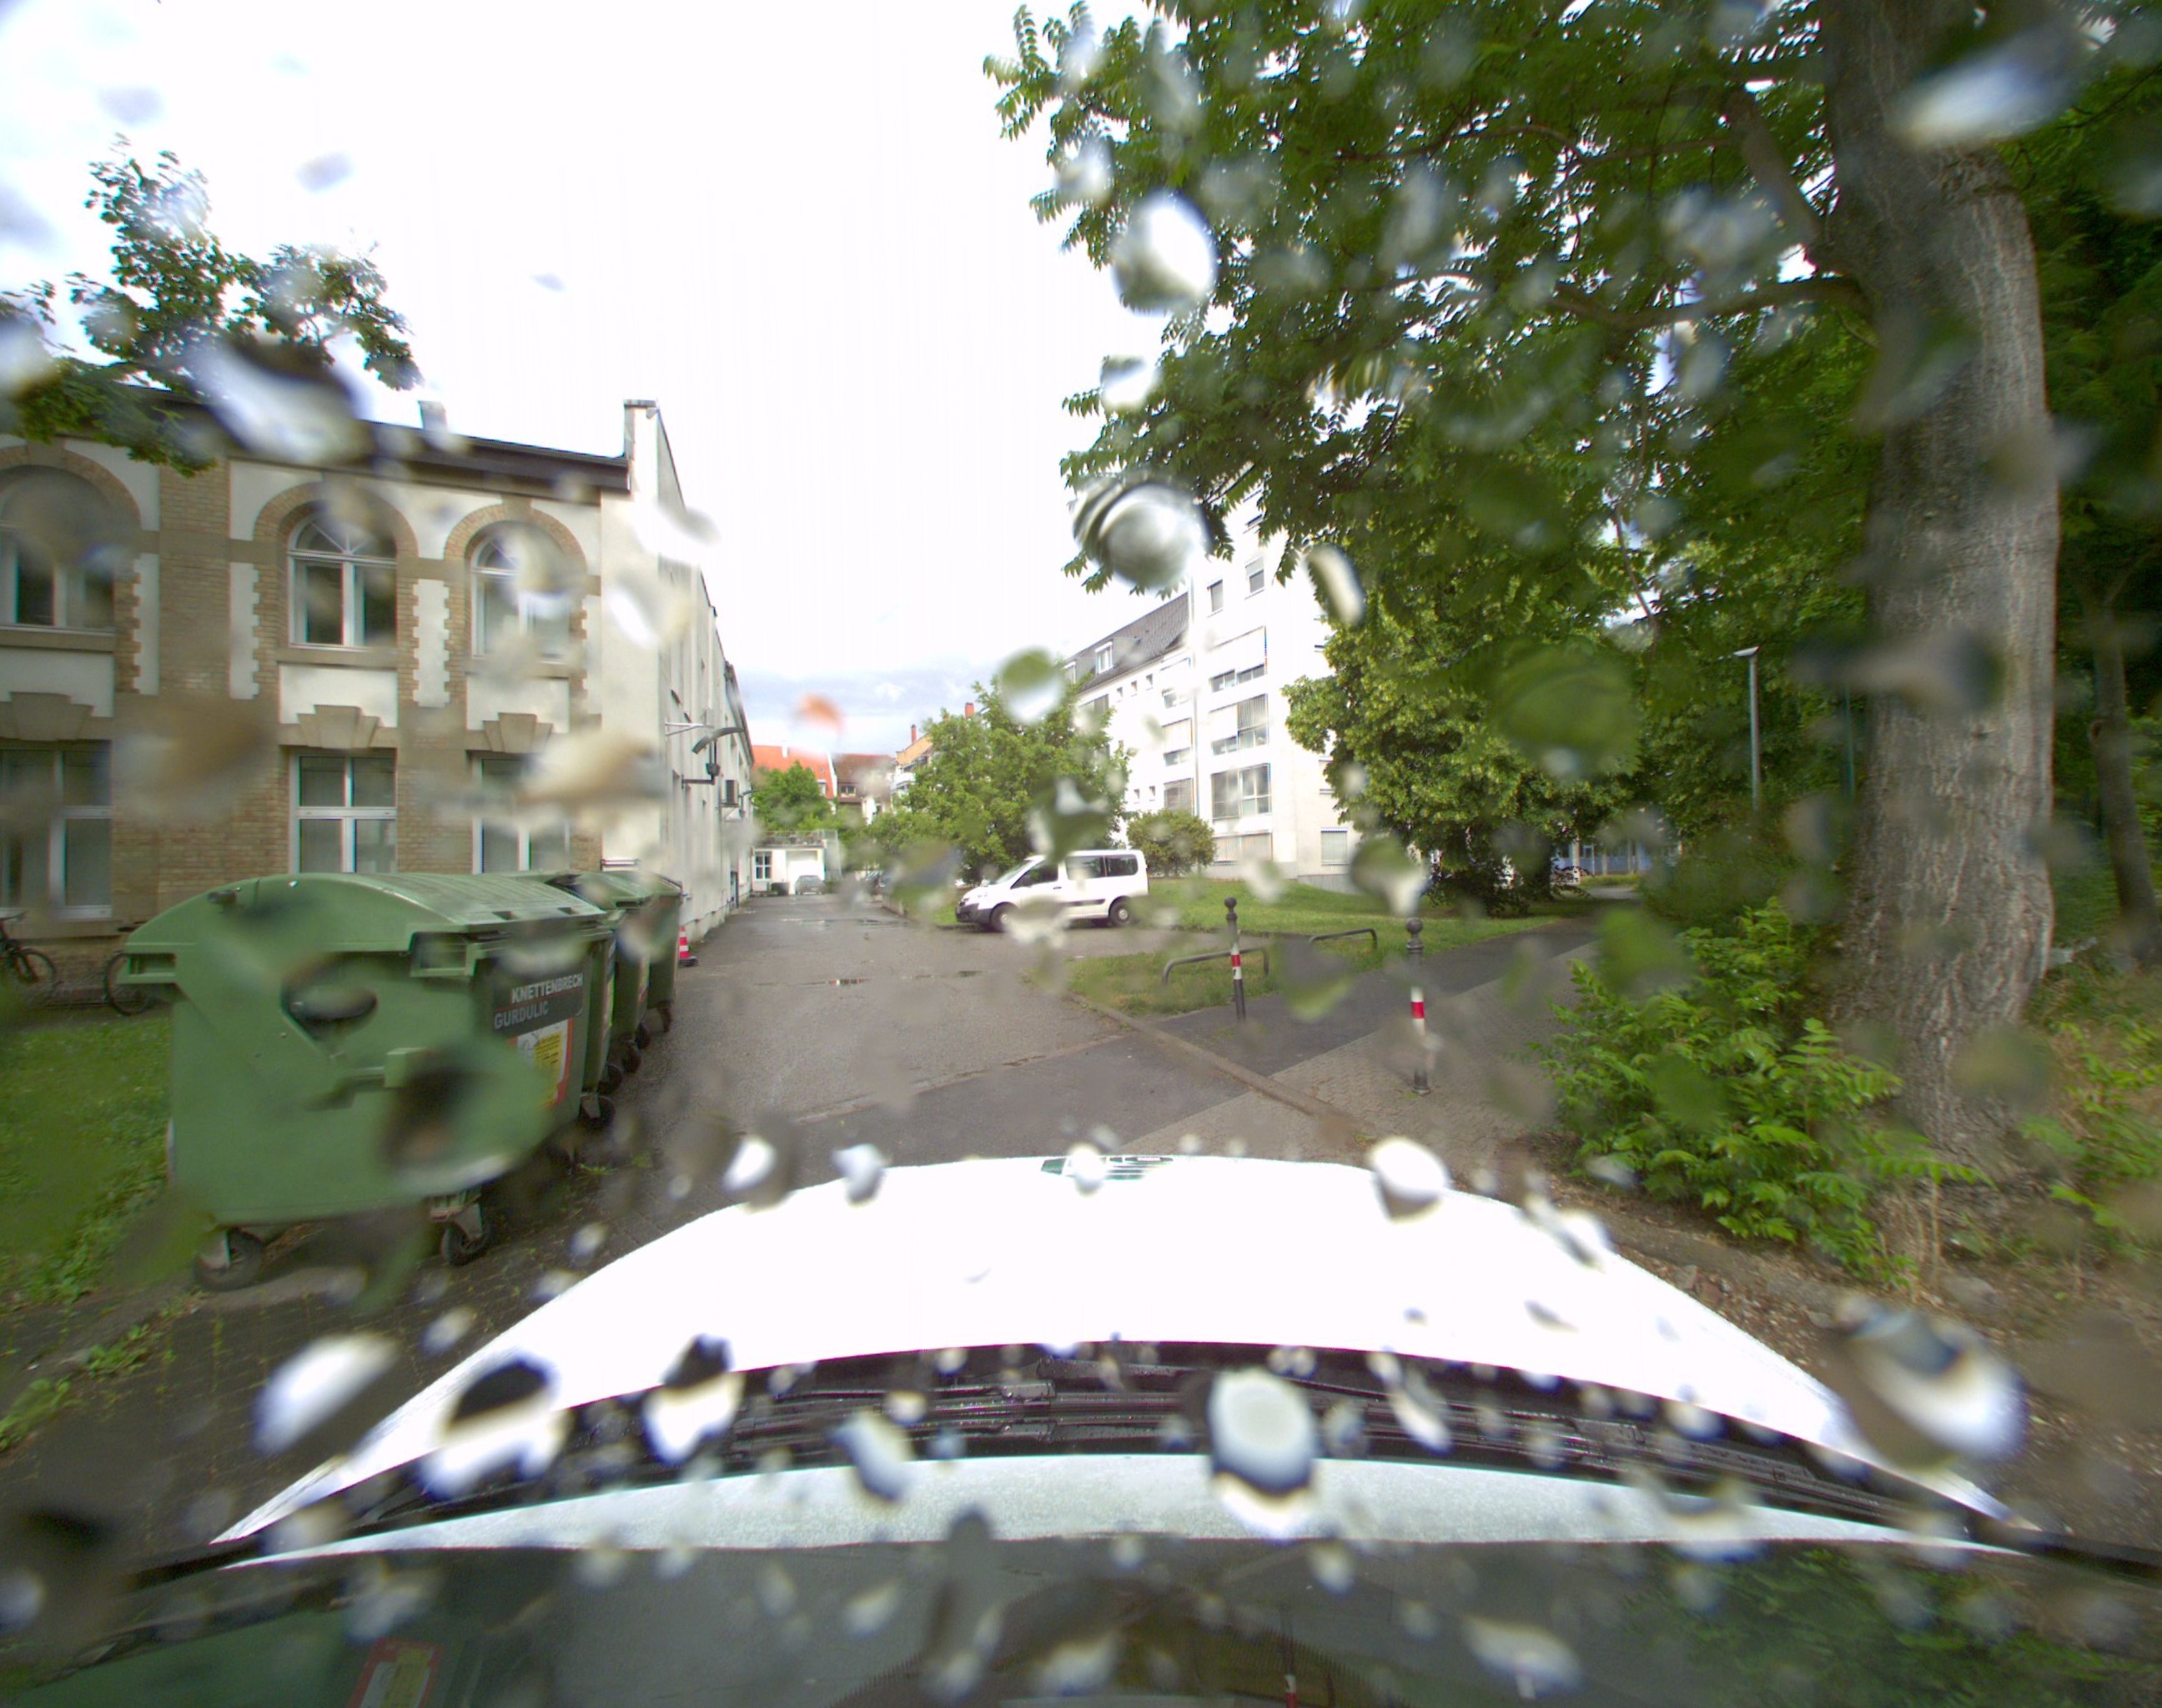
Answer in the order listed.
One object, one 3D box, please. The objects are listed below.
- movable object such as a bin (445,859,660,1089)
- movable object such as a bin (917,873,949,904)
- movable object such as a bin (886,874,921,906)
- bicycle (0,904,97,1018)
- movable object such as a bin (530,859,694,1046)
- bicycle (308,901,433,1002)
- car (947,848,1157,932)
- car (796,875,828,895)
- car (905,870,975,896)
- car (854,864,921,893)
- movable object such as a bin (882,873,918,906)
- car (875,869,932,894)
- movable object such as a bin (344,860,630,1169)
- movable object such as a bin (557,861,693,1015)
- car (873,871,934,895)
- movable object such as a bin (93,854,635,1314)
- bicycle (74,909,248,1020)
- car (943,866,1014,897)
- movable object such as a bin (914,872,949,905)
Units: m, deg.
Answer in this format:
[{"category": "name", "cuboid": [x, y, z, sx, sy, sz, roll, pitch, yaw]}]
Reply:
[{"category": "movable object such as a bin", "cuboid": [-3.900, 0.790, 6.188, 1.170, 1.483, 1.391, -1, -1, -25]}, {"category": "movable object such as a bin", "cuboid": [-6.657, 1.535, 36.609, 1.190, 1.304, 1.099, -2, -1, -20]}, {"category": "movable object such as a bin", "cuboid": [-7.867, 1.580, 36.116, 1.376, 1.304, 1.076, -2, -1, -19]}, {"category": "bicycle", "cuboid": [-12.341, 1.216, 9.243, 0.617, 1.224, 1.913, -2, -2, -21]}, {"category": "movable object such as a bin", "cuboid": [-4.295, 0.838, 7.614, 1.170, 1.483, 1.484, -2, -1, -26]}, {"category": "bicycle", "cuboid": [-9.113, 1.204, 10.528, 0.617, 1.116, 1.775, -2, -2, -21]}, {"category": "car", "cuboid": [-0.760, 0.862, 20.573, 4.888, 1.926, 2.085, 0, -2, -19]}, {"category": "car", "cuboid": [-20.322, 2.333, 61.472, 1.988, 1.444, 3.969, -1, -1, -23]}, {"category": "car", "cuboid": [-8.921, 1.819, 51.556, 4.008, 1.458, 1.757, -2, -1, -27]}, {"category": "car", "cuboid": [-15.191, 1.908, 64.041, 4.666, 2.003, 2.203, -2, 0, -32]}, {"category": "movable object such as a bin", "cuboid": [-7.653, 1.487, 34.345, 1.342, 1.292, 1.088, -2, 0, -19]}, {"category": "car", "cuboid": [-13.425, 2.054, 61.685, 3.926, 1.687, 1.803, -2, -1, -23]}, {"category": "movable object such as a bin", "cuboid": [-3.397, 0.793, 4.869, 1.171, 1.483, 1.390, 0, 0, -27]}, {"category": "movable object such as a bin", "cuboid": [-5.000, 0.864, 9.067, 1.170, 1.483, 1.581, -2, -1, -26]}, {"category": "car", "cuboid": [-12.757, 2.072, 58.436, 3.930, 1.514, 1.737, -2, -1, -26]}, {"category": "movable object such as a bin", "cuboid": [-2.773, 0.757, 3.475, 1.101, 1.473, 1.480, 0, -2, -11]}, {"category": "bicycle", "cuboid": [-10.970, 1.263, 9.797, 0.617, 1.116, 1.775, -2, -2, -21]}, {"category": "car", "cuboid": [-5.554, 1.492, 44.199, 3.431, 1.427, 1.674, -3, -1, -24]}, {"category": "movable object such as a bin", "cuboid": [-6.422, 1.453, 34.885, 1.297, 1.336, 1.189, -2, -1, -19]}]
